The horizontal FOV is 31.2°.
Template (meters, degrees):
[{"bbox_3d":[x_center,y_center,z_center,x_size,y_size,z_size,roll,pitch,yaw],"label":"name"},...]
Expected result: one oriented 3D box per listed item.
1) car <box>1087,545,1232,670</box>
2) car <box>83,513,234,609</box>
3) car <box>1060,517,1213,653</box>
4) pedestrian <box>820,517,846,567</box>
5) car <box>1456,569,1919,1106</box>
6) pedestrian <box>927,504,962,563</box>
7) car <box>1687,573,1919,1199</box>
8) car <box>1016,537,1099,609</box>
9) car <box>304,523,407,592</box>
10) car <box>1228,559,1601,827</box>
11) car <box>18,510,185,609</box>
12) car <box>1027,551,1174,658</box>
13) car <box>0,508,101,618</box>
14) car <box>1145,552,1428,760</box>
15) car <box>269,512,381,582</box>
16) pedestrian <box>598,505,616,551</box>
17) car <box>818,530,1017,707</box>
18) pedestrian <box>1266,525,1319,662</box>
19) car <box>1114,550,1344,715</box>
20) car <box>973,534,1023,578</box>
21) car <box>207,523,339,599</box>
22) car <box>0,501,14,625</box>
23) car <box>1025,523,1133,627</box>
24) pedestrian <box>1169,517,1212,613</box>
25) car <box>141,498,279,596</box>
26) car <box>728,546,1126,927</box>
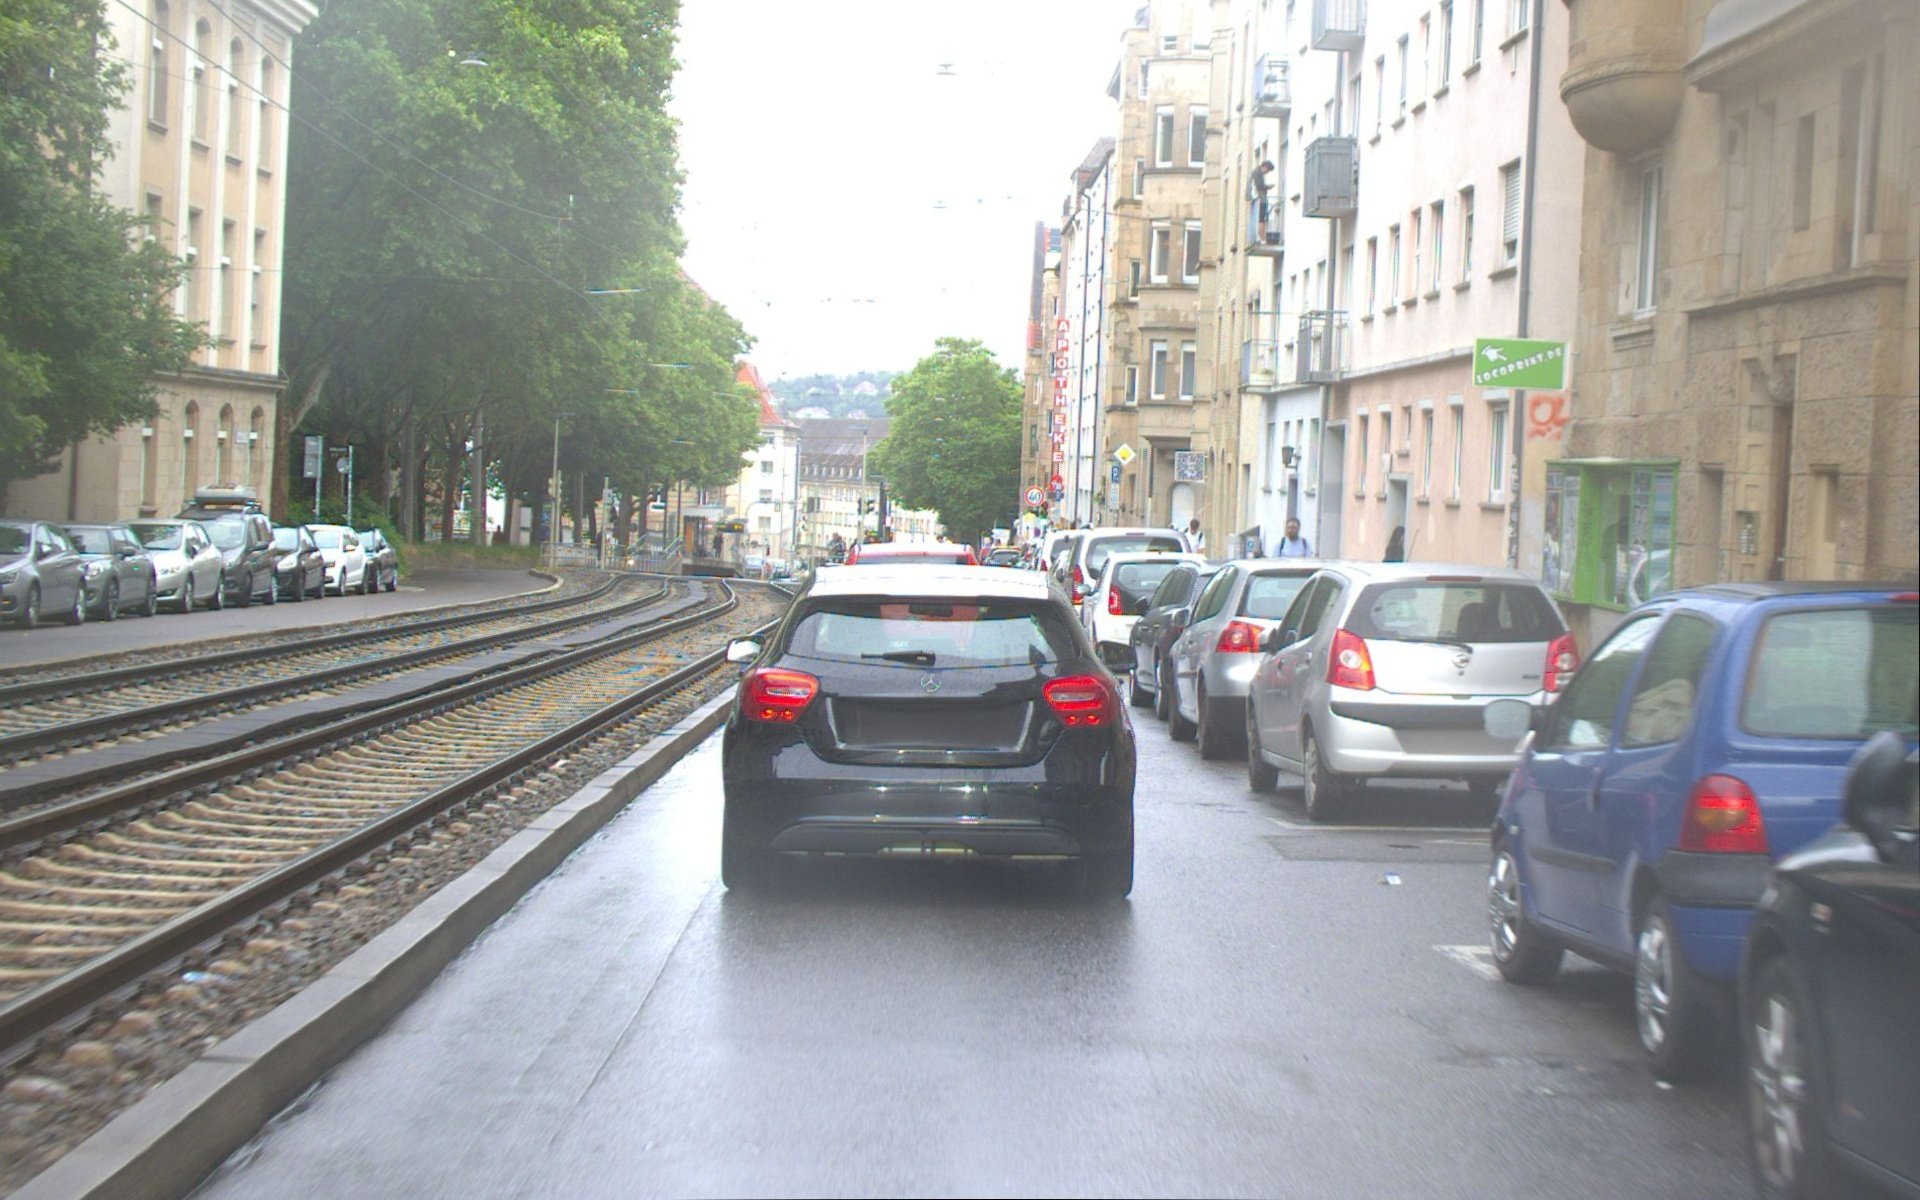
[{"bbox_3d":[2.441,0.060,42.710,1.570,1.457,3.600,1,1,0],"label":"car"},{"bbox_3d":[-12.929,-0.646,55.656,1.539,1.500,4.155,0,1,-1],"label":"car"},{"bbox_3d":[2.372,-0.241,47.043,1.791,1.759,4.212,1,1,-1],"label":"car"},{"bbox_3d":[-4.150,-1.887,112.185,0.806,1.628,0.892,0,1,0],"label":"pedestrian"},{"bbox_3d":[2.679,0.640,11.053,1.543,1.410,3.446,1,1,-2],"label":"car"},{"bbox_3d":[-0.529,-2.274,117.290,1.137,1.991,1.173,0,1,-4],"label":"pedestrian"},{"bbox_3d":[2.765,0.721,6.464,1.787,1.457,4.084,1,1,-2],"label":"car"},{"bbox_3d":[2.169,-0.634,77.287,1.693,1.524,4.000,2,1,0],"label":"car"},{"bbox_3d":[-13.193,-0.942,75.207,1.614,1.424,3.852,1,2,-1],"label":"car"},{"bbox_3d":[2.639,0.488,20.711,1.590,1.429,3.684,1,1,-2],"label":"car"},{"bbox_3d":[-12.641,-0.611,50.814,1.539,1.409,3.953,0,1,-1],"label":"car"},{"bbox_3d":[2.081,0.034,52.048,1.871,1.450,4.903,1,1,-1],"label":"car"},{"bbox_3d":[-12.884,-0.504,46.109,1.754,1.409,4.154,0,1,-1],"label":"car"},{"bbox_3d":[2.410,0.371,26.233,1.668,1.429,3.956,1,1,-1],"label":"car"},{"bbox_3d":[-13.013,-1.104,70.602,1.500,1.386,3.987,0,1,1],"label":"car"},{"bbox_3d":[-13.619,-2.793,132.695,0.534,1.748,0.607,3,1,0],"label":"pedestrian"},{"bbox_3d":[-0.398,0.135,33.501,1.785,1.575,4.000,1,1,0],"label":"car"},{"bbox_3d":[4.330,-0.090,44.748,0.607,1.757,0.688,0,1,-1],"label":"pedestrian"},{"bbox_3d":[2.464,0.258,32.417,1.669,1.405,4.312,1,1,-2],"label":"car"},{"bbox_3d":[1.400,-1.682,129.416,1.827,1.612,3.864,0,1,0],"label":"car"},{"bbox_3d":[-13.185,-0.775,66.175,1.675,1.409,4.010,0,1,1],"label":"car"},{"bbox_3d":[-12.722,-0.418,40.908,1.754,1.531,4.543,0,1,-1],"label":"car"},{"bbox_3d":[2.113,-0.477,61.786,1.828,1.744,4.467,2,1,1],"label":"car"},{"bbox_3d":[4.483,-0.689,66.888,0.746,1.827,1.039,-1,1,1],"label":"pedestrian"},{"bbox_3d":[-12.993,-0.928,59.767,1.576,1.637,4.072,0,1,-1],"label":"car"},{"bbox_3d":[-0.159,0.529,15.778,1.580,1.499,3.575,1,1,-1],"label":"car"}]
